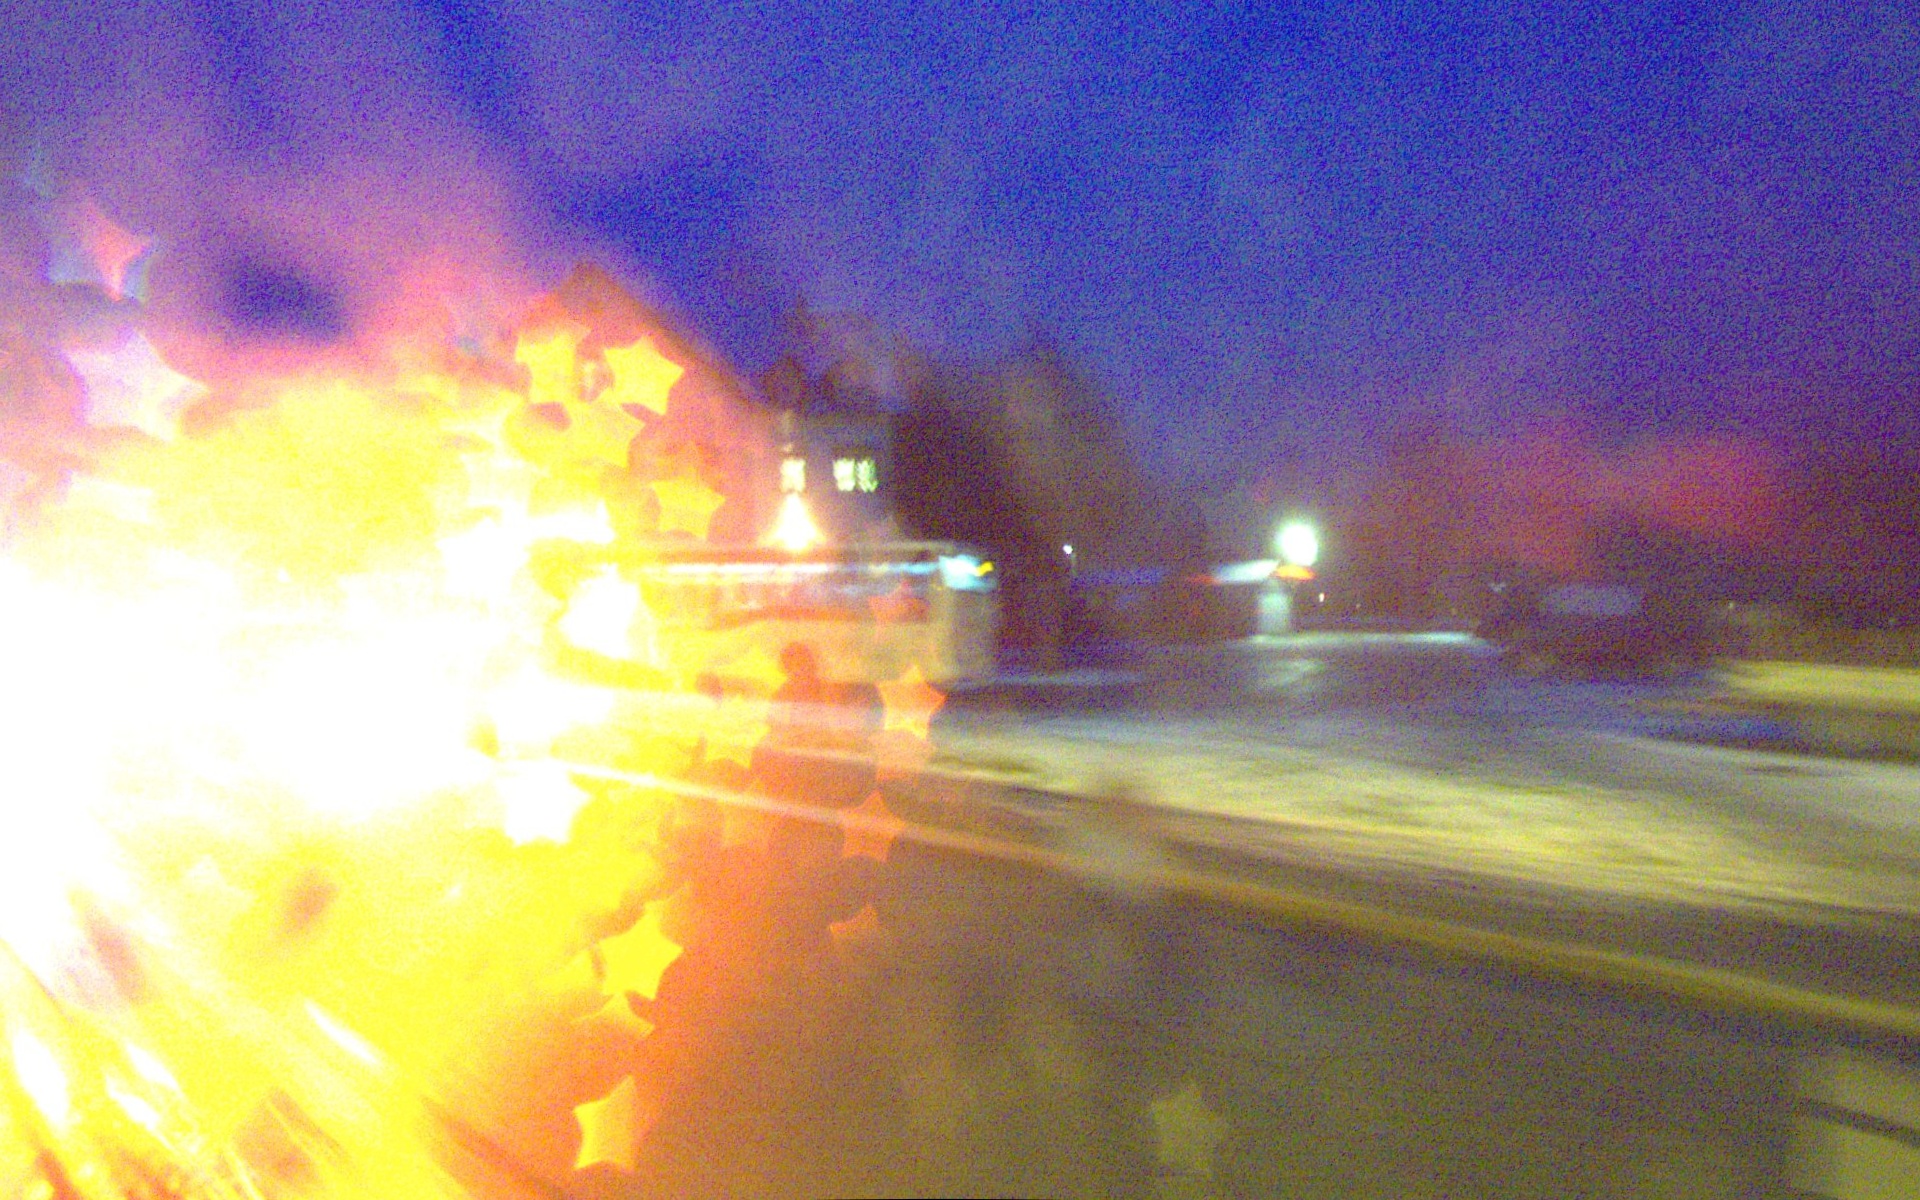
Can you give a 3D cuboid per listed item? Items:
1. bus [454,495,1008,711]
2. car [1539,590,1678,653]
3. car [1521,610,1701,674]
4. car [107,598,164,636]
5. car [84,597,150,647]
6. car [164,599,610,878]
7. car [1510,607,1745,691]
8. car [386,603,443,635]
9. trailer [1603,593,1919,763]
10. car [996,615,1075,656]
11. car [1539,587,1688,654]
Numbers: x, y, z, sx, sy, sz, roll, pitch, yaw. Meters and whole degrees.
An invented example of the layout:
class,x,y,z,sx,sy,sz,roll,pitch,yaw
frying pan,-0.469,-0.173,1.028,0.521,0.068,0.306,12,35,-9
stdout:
class,x,y,z,sx,sy,sz,roll,pitch,yaw
bus,-5.469,0.027,22.330,12.987,3.897,2.877,0,0,26
car,23.252,0.725,36.446,3.979,2.071,1.749,1,2,26
car,20.369,1.274,31.931,4.608,1.709,1.924,1,2,29
car,-34.873,0.676,42.885,1.690,1.487,3.877,-1,1,-37
car,-28.906,0.707,34.703,1.674,1.611,3.807,0,0,-40
car,-4.453,0.792,7.585,4.115,1.522,1.618,0,-2,41
car,16.079,1.127,24.737,4.608,1.709,1.924,1,2,29
car,-26.151,0.877,48.659,1.665,1.408,4.163,3,-1,-18
trailer,9.590,0.824,11.216,4.090,1.690,1.797,-1,-3,34
car,3.163,1.476,43.259,1.829,1.408,4.053,3,1,-20
car,22.016,0.626,34.321,3.979,2.071,1.983,1,2,26
